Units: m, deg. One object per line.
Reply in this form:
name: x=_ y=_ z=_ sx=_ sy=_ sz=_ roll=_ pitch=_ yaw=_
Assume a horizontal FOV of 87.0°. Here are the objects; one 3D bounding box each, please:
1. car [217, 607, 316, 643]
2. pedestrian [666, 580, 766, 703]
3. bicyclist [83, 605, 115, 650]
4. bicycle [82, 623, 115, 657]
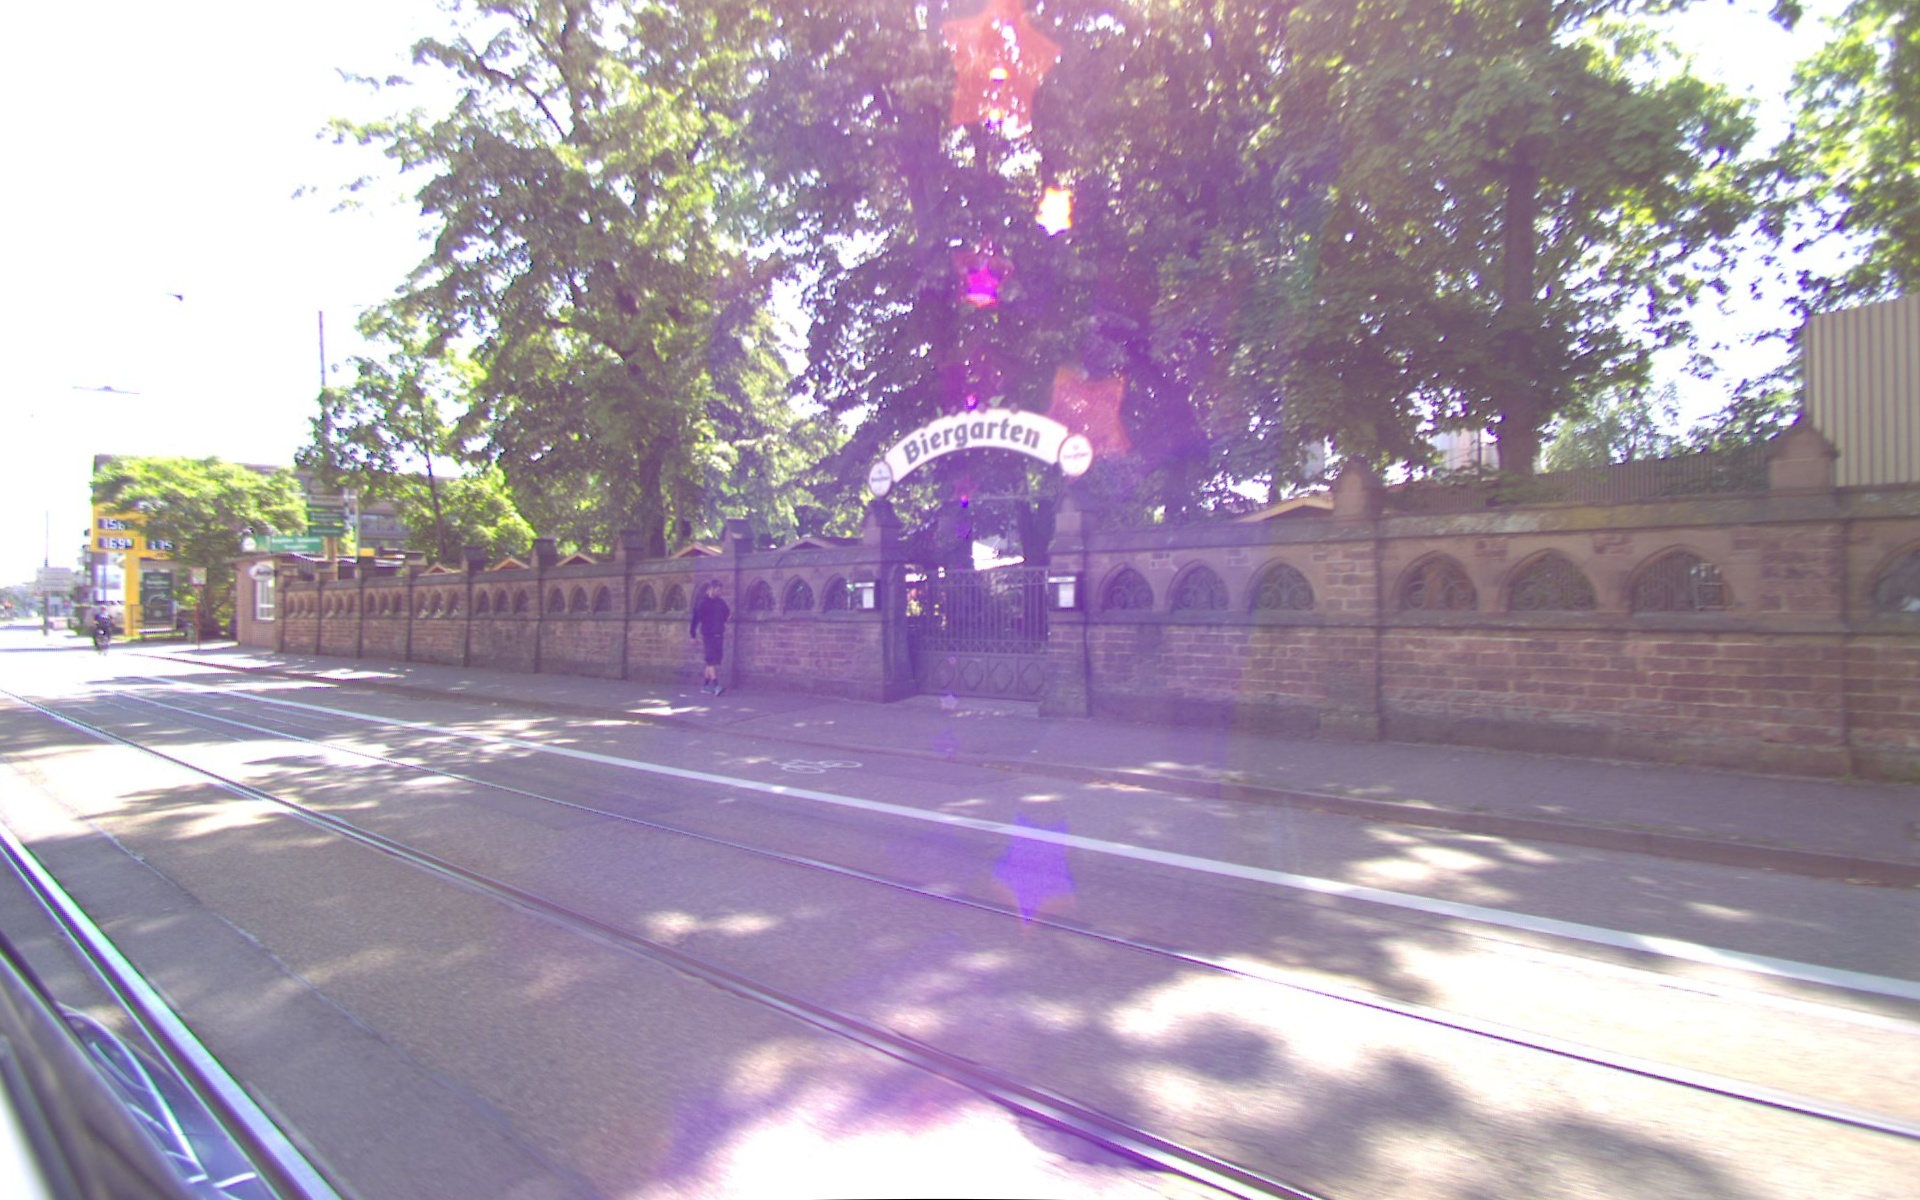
car: x=-33.589 y=1.169 z=49.195 sx=1.989 sy=1.653 sz=4.665 roll=-1 pitch=0 yaw=-6
pedestrian: x=-3.892 y=0.625 z=16.136 sx=1.184 sy=1.829 sz=0.966 roll=-1 pitch=3 yaw=41
bicyclist: x=-29.953 y=0.957 z=35.198 sx=0.947 sy=1.542 sz=0.732 roll=-1 pitch=-1 yaw=41
bicycle: x=-29.985 y=1.372 z=35.215 sx=2.053 sy=1.114 sz=0.585 roll=-1 pitch=-1 yaw=42
